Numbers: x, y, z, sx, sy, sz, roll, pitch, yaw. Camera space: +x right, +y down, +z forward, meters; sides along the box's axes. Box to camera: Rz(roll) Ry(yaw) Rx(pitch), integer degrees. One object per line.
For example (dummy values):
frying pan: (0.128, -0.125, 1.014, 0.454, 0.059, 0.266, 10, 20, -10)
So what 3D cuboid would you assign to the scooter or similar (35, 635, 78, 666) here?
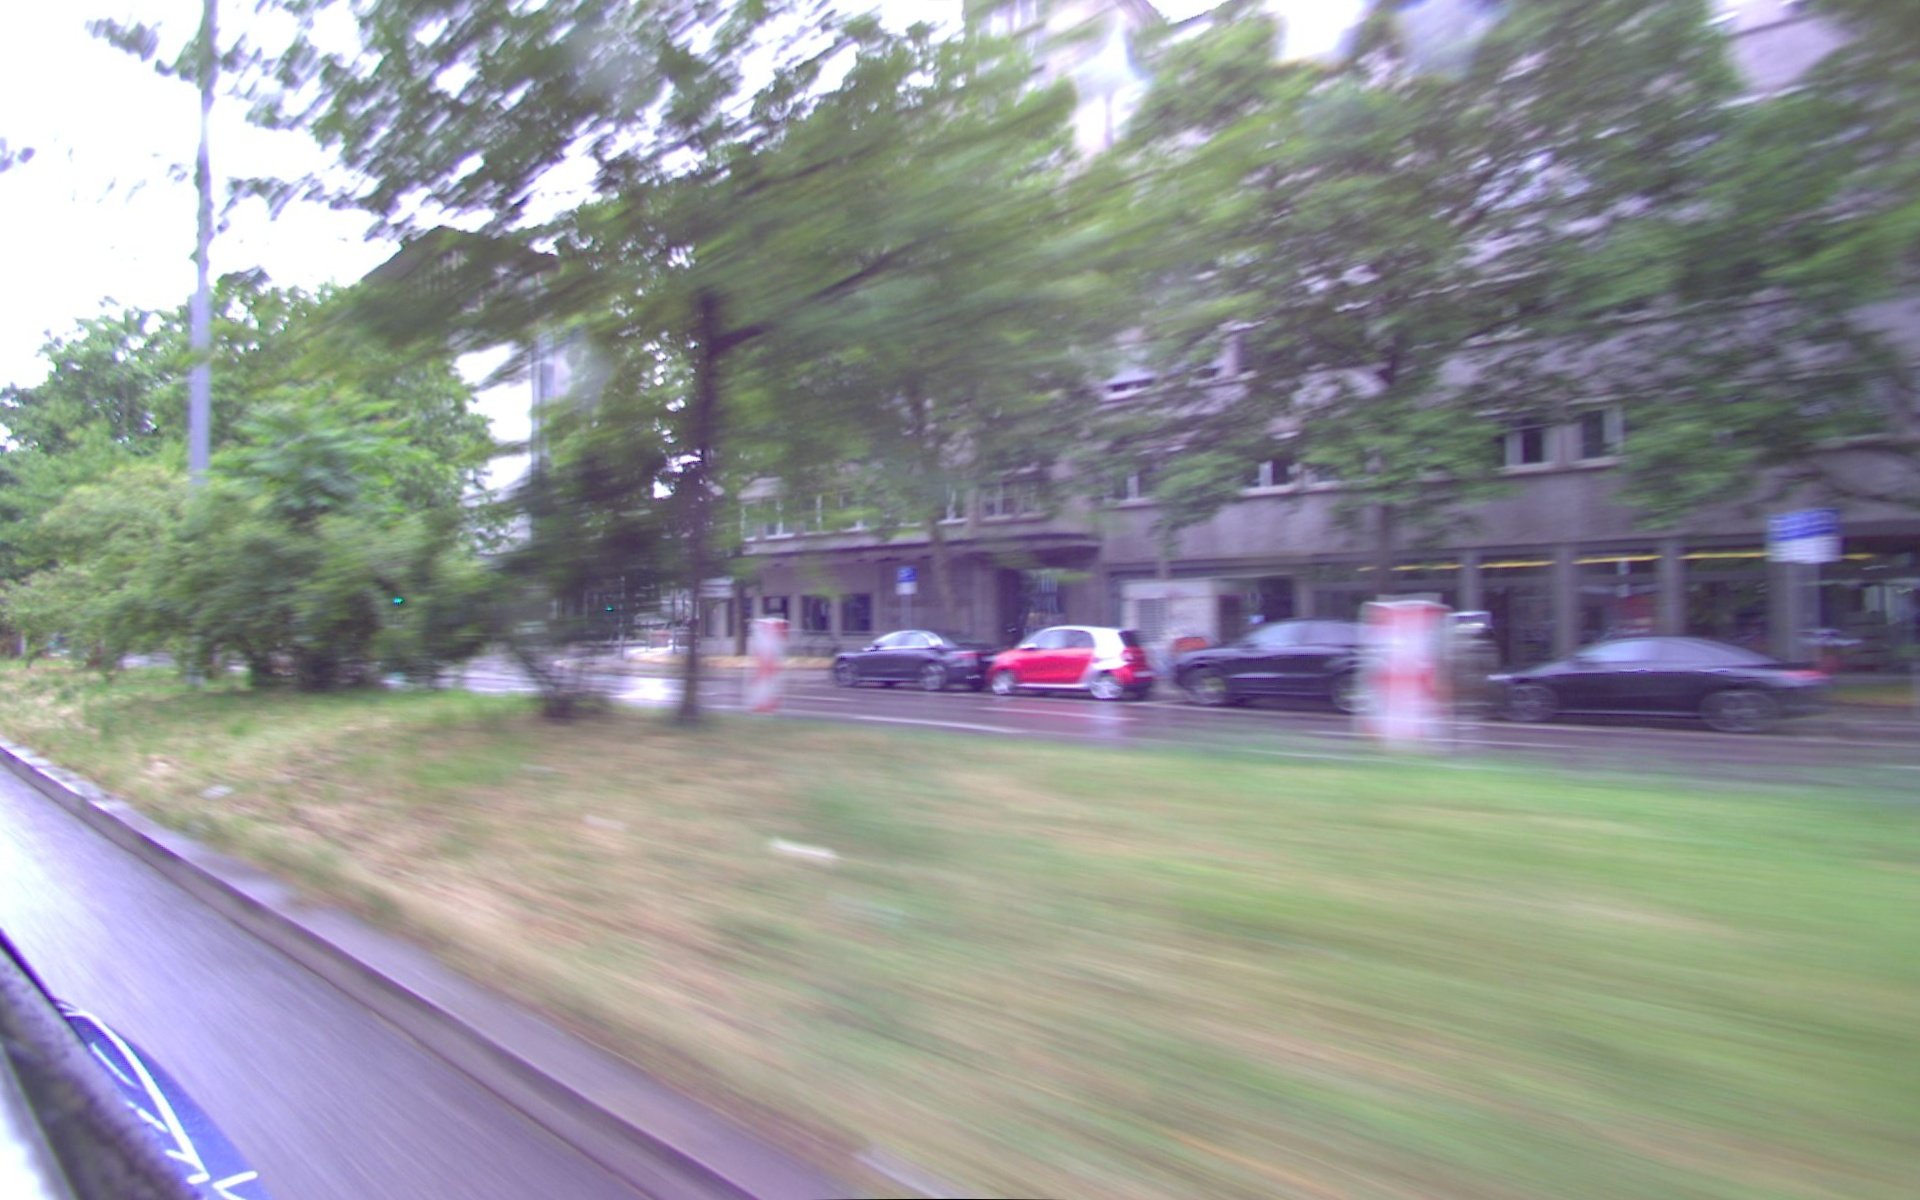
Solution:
scooter or similar: (-34.836, 1.935, 39.017, 0.434, 1.122, 1.170, -1, -1, 38)

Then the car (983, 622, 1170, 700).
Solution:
car: (2.438, 1.279, 21.557, 3.621, 1.531, 1.671, -1, -4, 38)

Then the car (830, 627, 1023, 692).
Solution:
car: (-0.877, 1.417, 24.519, 4.667, 1.446, 1.750, -1, -5, 39)

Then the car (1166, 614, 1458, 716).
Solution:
car: (6.420, 1.167, 18.828, 4.838, 1.665, 1.750, -1, -5, 39)

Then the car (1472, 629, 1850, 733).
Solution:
car: (10.767, 1.199, 15.868, 4.648, 1.405, 1.751, -1, -4, 38)

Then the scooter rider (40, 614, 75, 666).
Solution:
scooter rider: (-34.795, 1.525, 39.027, 0.756, 1.955, 0.891, -1, -1, 39)
